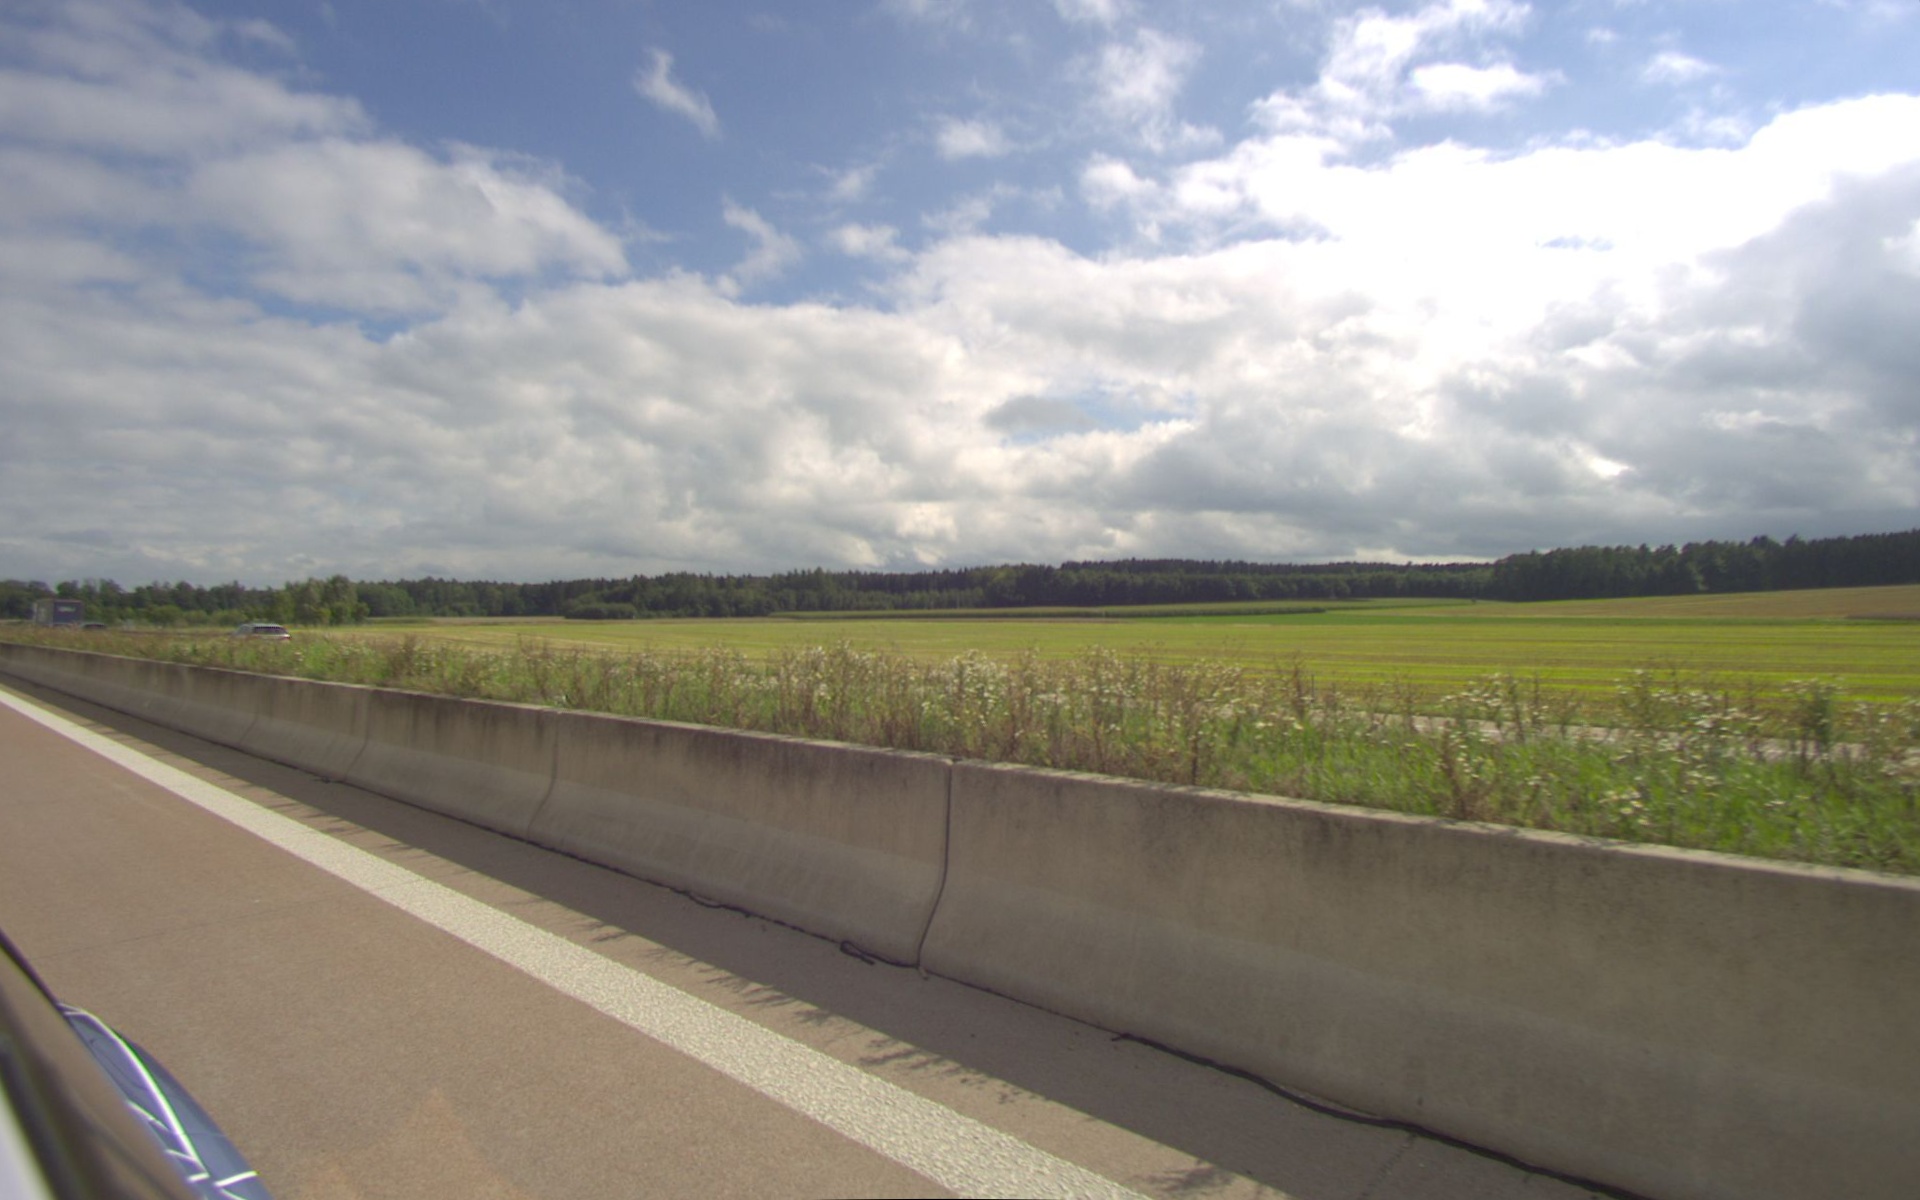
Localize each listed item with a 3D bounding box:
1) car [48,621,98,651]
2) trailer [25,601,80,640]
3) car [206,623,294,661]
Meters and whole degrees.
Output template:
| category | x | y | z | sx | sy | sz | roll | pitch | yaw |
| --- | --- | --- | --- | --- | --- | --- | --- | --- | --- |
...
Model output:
| category | x | y | z | sx | sy | sz | roll | pitch | yaw |
| --- | --- | --- | --- | --- | --- | --- | --- | --- | --- |
| car | -60.840 | 2.457 | 69.392 | 3.997 | 2.029 | 1.973 | -1 | -3 | 41 |
| trailer | -98.806 | 2.299 | 110.102 | 14.324 | 3.989 | 2.741 | -1 | -2 | 41 |
| car | -30.301 | 1.757 | 43.165 | 4.270 | 1.520 | 1.974 | -1 | -3 | 39 |
